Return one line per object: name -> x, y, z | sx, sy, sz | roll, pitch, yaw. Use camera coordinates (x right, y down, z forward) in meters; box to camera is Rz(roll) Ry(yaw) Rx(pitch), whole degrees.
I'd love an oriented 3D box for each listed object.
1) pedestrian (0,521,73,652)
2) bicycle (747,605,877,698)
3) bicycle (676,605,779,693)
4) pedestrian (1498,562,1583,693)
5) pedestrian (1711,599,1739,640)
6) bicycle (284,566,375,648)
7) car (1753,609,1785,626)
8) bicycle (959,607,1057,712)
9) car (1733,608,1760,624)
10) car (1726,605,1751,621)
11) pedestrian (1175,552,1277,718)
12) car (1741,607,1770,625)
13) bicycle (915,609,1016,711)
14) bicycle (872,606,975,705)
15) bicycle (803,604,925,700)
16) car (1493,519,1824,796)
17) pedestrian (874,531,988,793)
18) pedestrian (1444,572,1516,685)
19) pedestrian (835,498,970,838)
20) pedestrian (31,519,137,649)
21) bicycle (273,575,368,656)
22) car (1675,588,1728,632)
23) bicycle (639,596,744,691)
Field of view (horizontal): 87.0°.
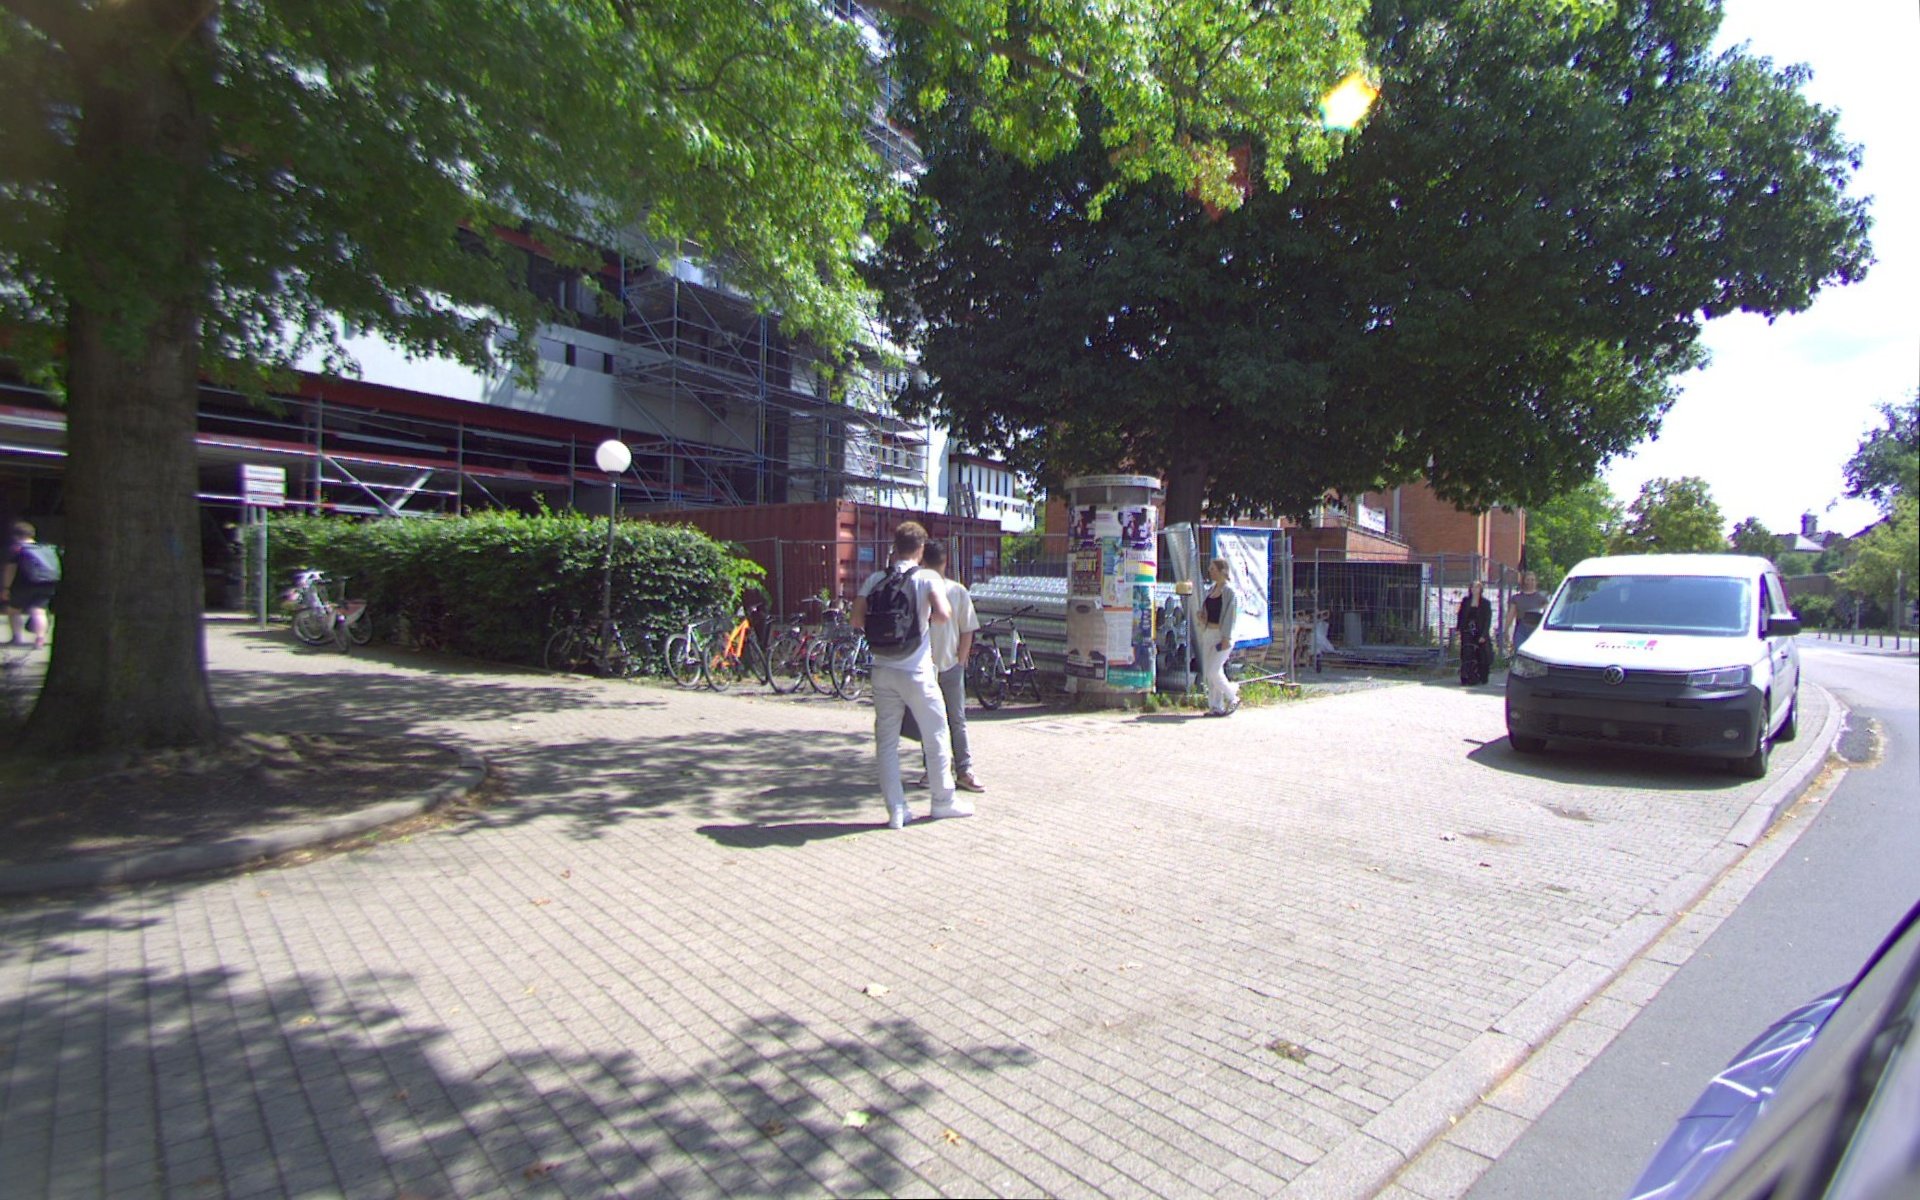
pedestrian -> -11.783, -0.174, 12.664 | 0.749, 1.592, 0.725 | 1, 0, 14
bicycle -> -1.814, 0.604, 12.663 | 0.511, 1.029, 1.786 | 3, 2, 34
bicycle -> -2.930, 0.583, 12.947 | 0.507, 0.968, 1.801 | 2, 2, 14
pedestrian -> 8.196, 0.364, 14.294 | 0.850, 1.786, 0.704 | 2, 1, 45
pedestrian -> 34.687, 0.874, 45.917 | 0.818, 1.840, 1.133 | 1, 0, 28
bicycle -> -9.663, 0.081, 15.488 | 1.860, 1.132, 0.494 | 3, 2, 36
car -> 66.895, 1.444, 83.689 | 1.690, 1.311, 3.717 | 2, 1, 33
bicycle -> 0.578, 0.627, 11.478 | 0.508, 1.029, 1.795 | 2, 2, 22
car -> 73.204, 1.475, 94.207 | 1.638, 1.394, 3.952 | 1, 0, 33
car -> 77.668, 1.272, 100.982 | 1.707, 1.451, 3.952 | 1, 0, 33
pedestrian -> 2.755, 0.345, 10.517 | 0.696, 1.652, 0.716 | 1, 0, -25
car -> 70.175, 1.397, 89.337 | 1.624, 1.449, 3.590 | 1, 0, 32
bicycle -> 0.102, 0.657, 11.820 | 0.508, 1.029, 1.795 | 2, 2, 22
bicycle -> -0.402, 0.616, 12.125 | 0.508, 1.029, 1.795 | 2, 2, 22
bicycle -> -1.134, 0.593, 12.359 | 0.510, 1.029, 1.789 | 3, 2, 31
car -> 6.682, 0.383, 9.411 | 1.848, 1.915, 4.814 | 2, 1, 43
pedestrian -> -0.207, 0.410, 7.020 | 0.731, 1.731, 0.564 | 1, 0, -2
pedestrian -> 7.758, 0.409, 15.098 | 0.669, 1.620, 0.969 | 2, 1, 44
pedestrian -> -0.329, 0.369, 5.847 | 0.709, 1.844, 0.630 | 1, 0, -2
pedestrian -> -11.562, -0.214, 13.370 | 0.820, 1.656, 0.720 | 1, 0, 17
bicycle -> -9.117, 0.192, 14.402 | 1.861, 1.039, 0.493 | 3, 2, 36
car -> 46.157, 0.596, 63.091 | 2.049, 2.575, 5.785 | 1, 0, 31
bicycle -> -3.454, 0.517, 13.160 | 0.493, 1.091, 1.801 | 2, 2, 14
